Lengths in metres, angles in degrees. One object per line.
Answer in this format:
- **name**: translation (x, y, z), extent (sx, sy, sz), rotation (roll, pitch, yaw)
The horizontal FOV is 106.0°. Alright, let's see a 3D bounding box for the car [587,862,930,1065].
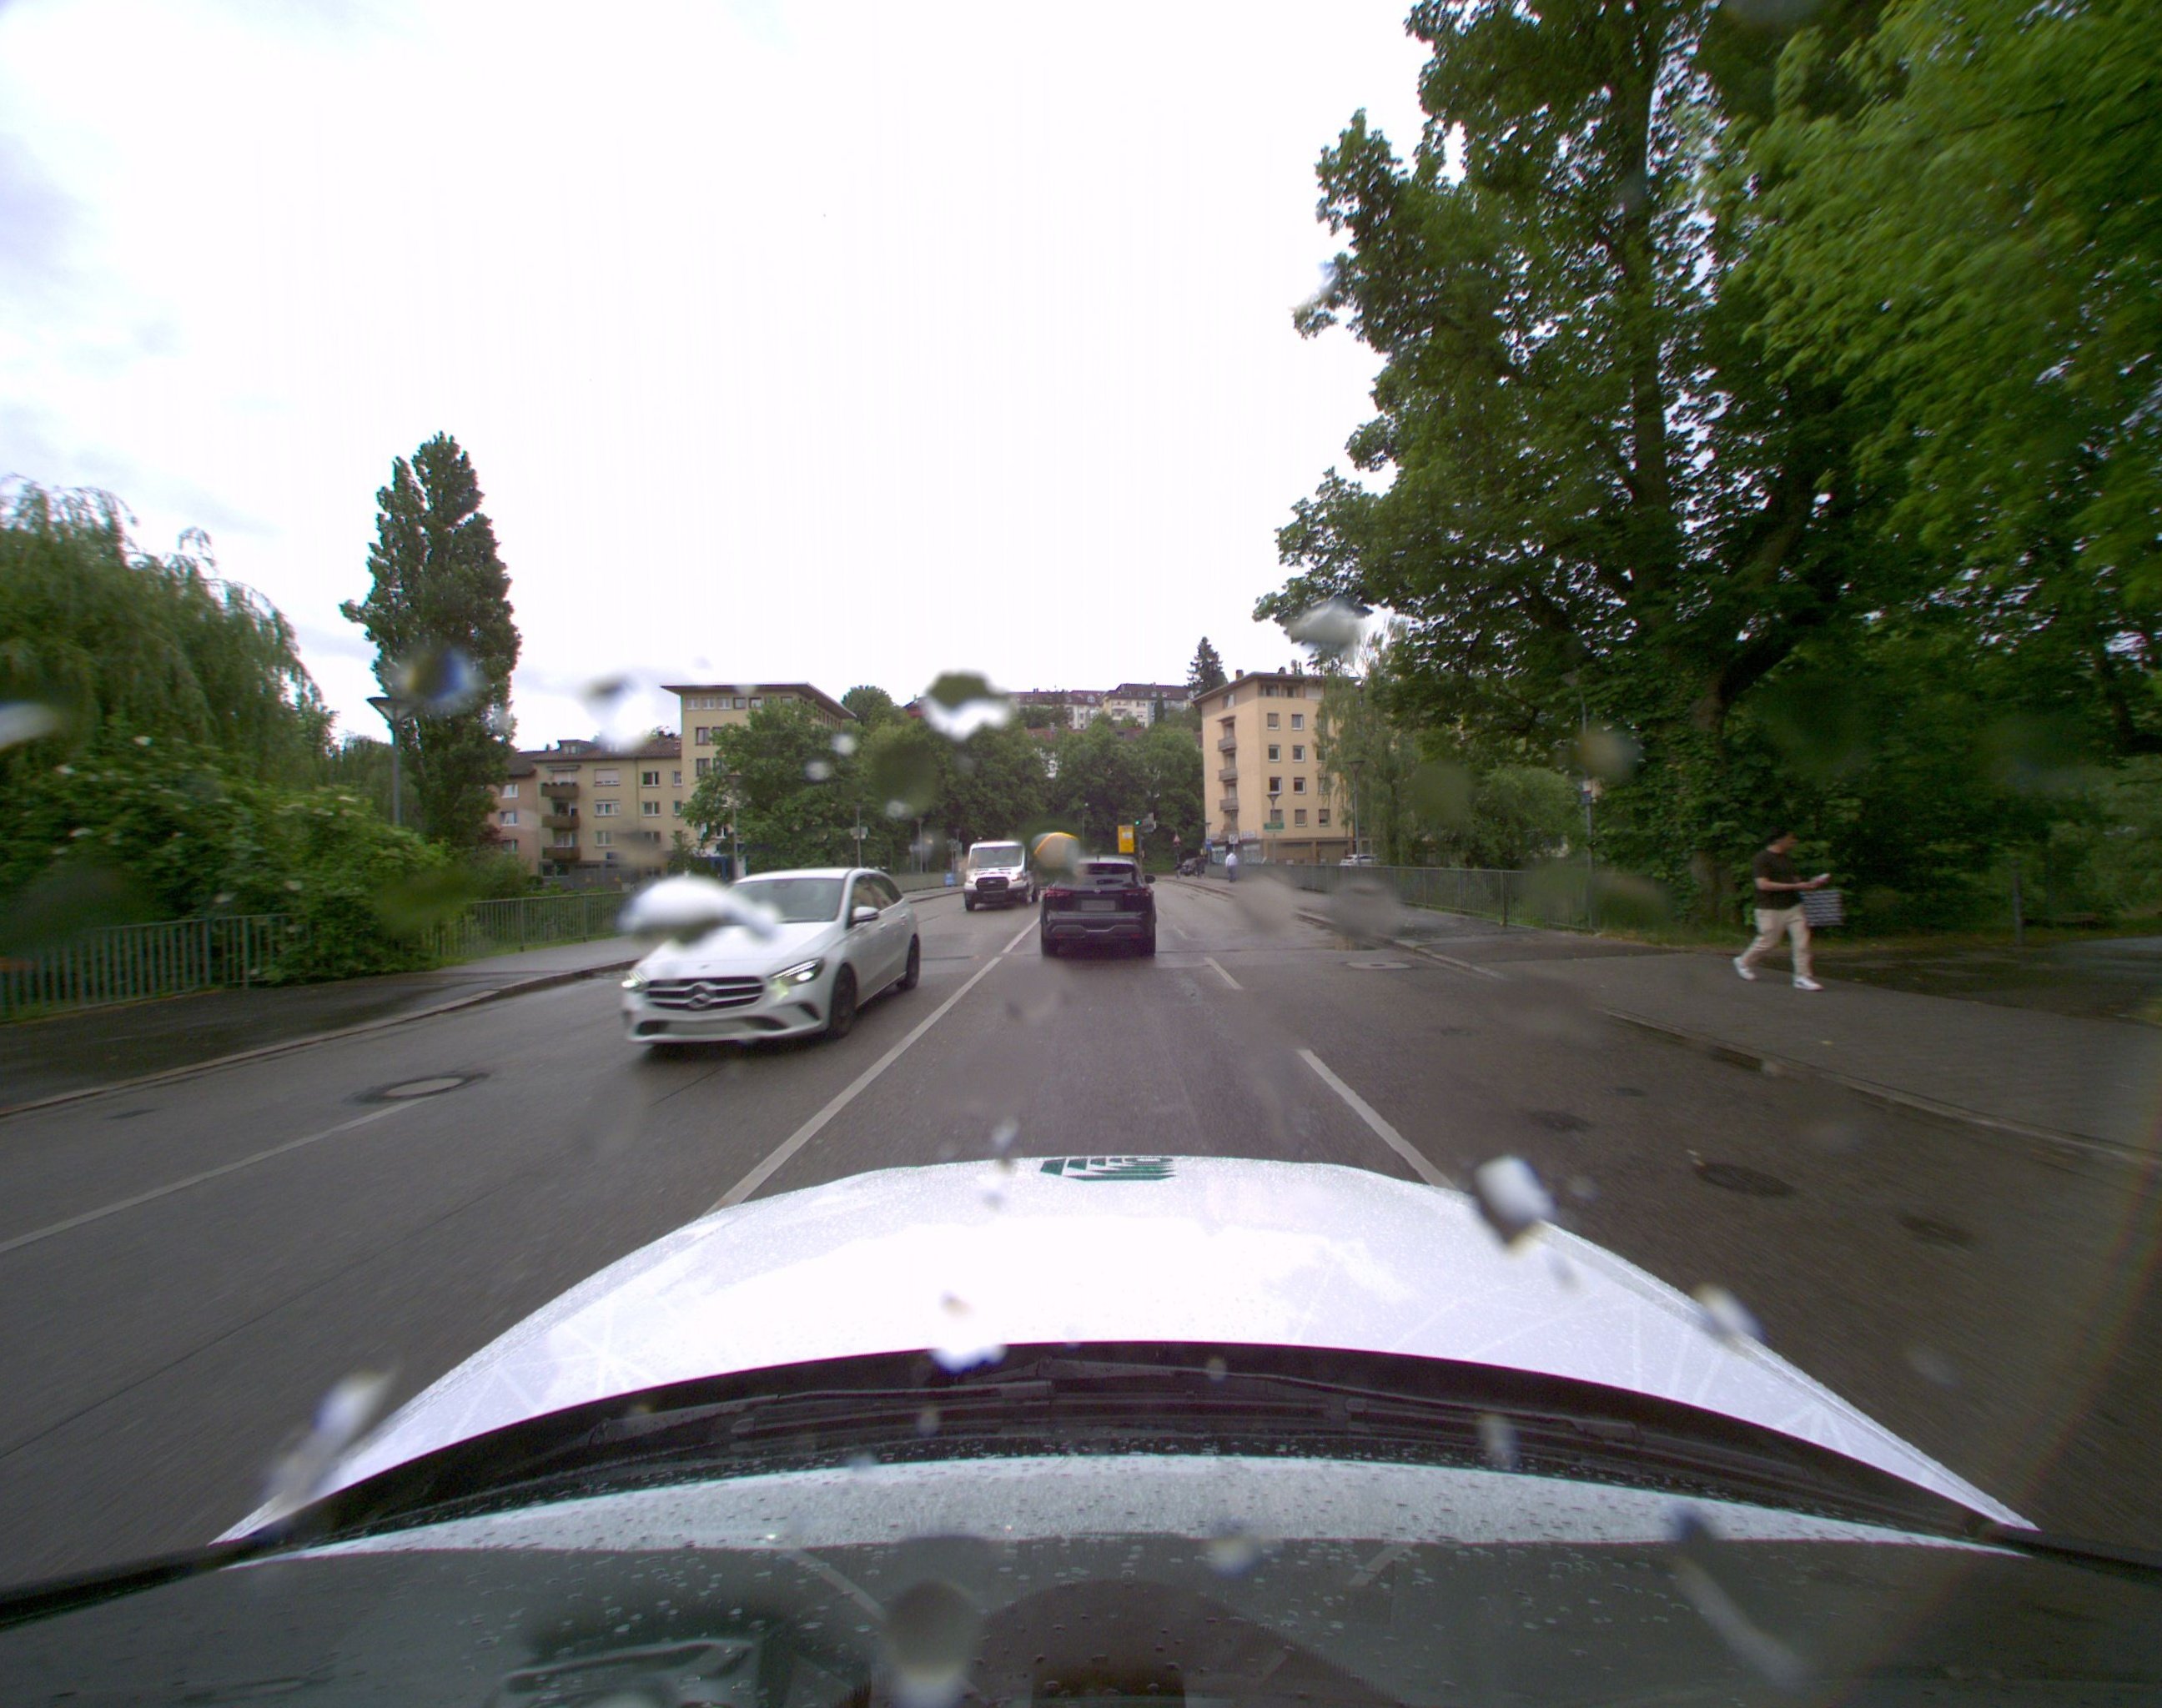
- **car**: translation (-2.955, 0.893, 8.559), extent (1.775, 1.474, 4.168), rotation (-3, 0, 1)

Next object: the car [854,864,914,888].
- **car**: translation (-16.847, 1.894, 69.829), extent (4.738, 1.854, 1.995), rotation (-1, 1, -7)

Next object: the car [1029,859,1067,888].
- **car**: translation (-1.758, 1.051, 45.001), extent (1.739, 1.439, 4.002), rotation (-2, -1, 2)

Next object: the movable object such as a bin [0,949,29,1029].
- **movable object such as a bin**: translation (-12.634, 1.548, 8.986), extent (0.962, 0.877, 0.833), rotation (-2, -1, 1)

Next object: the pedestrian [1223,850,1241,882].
- **pedestrian**: translation (8.380, 0.674, 45.260), extent (0.777, 1.752, 1.061), rotation (-2, -1, 1)

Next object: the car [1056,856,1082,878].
- **car**: translation (-1.009, 1.096, 69.128), extent (1.881, 1.735, 4.373), rotation (-3, -1, 2)

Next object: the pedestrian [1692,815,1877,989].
- **pedestrian**: translation (7.405, 0.482, 8.653), extent (0.844, 1.676, 1.168), rotation (-4, -1, 1)

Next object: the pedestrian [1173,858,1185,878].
- **pedestrian**: translation (8.419, 1.221, 70.235), extent (0.859, 1.619, 0.840), rotation (-3, -1, 1)

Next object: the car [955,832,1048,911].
- **car**: translation (-2.572, 0.521, 28.173), extent (2.281, 2.308, 6.511), rotation (-3, 0, 1)

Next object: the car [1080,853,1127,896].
- **car**: translation (0.920, 0.785, 32.922), extent (1.804, 1.603, 4.001), rotation (0, 0, 2)

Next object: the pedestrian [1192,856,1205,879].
- **pedestrian**: translation (8.722, 1.000, 60.449), extent (0.758, 1.677, 0.781), rotation (-4, 0, 2)

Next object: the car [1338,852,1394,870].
- **car**: translation (25.143, 0.634, 71.807), extent (4.447, 1.376, 1.808), rotation (-2, 1, -15)

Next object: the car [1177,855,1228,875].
- **car**: translation (11.519, 1.012, 76.997), extent (4.387, 1.649, 1.868), rotation (-3, -1, -24)

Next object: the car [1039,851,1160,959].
- **car**: translation (0.334, 0.770, 14.232), extent (1.804, 1.603, 4.001), rotation (-1, 0, 2)
